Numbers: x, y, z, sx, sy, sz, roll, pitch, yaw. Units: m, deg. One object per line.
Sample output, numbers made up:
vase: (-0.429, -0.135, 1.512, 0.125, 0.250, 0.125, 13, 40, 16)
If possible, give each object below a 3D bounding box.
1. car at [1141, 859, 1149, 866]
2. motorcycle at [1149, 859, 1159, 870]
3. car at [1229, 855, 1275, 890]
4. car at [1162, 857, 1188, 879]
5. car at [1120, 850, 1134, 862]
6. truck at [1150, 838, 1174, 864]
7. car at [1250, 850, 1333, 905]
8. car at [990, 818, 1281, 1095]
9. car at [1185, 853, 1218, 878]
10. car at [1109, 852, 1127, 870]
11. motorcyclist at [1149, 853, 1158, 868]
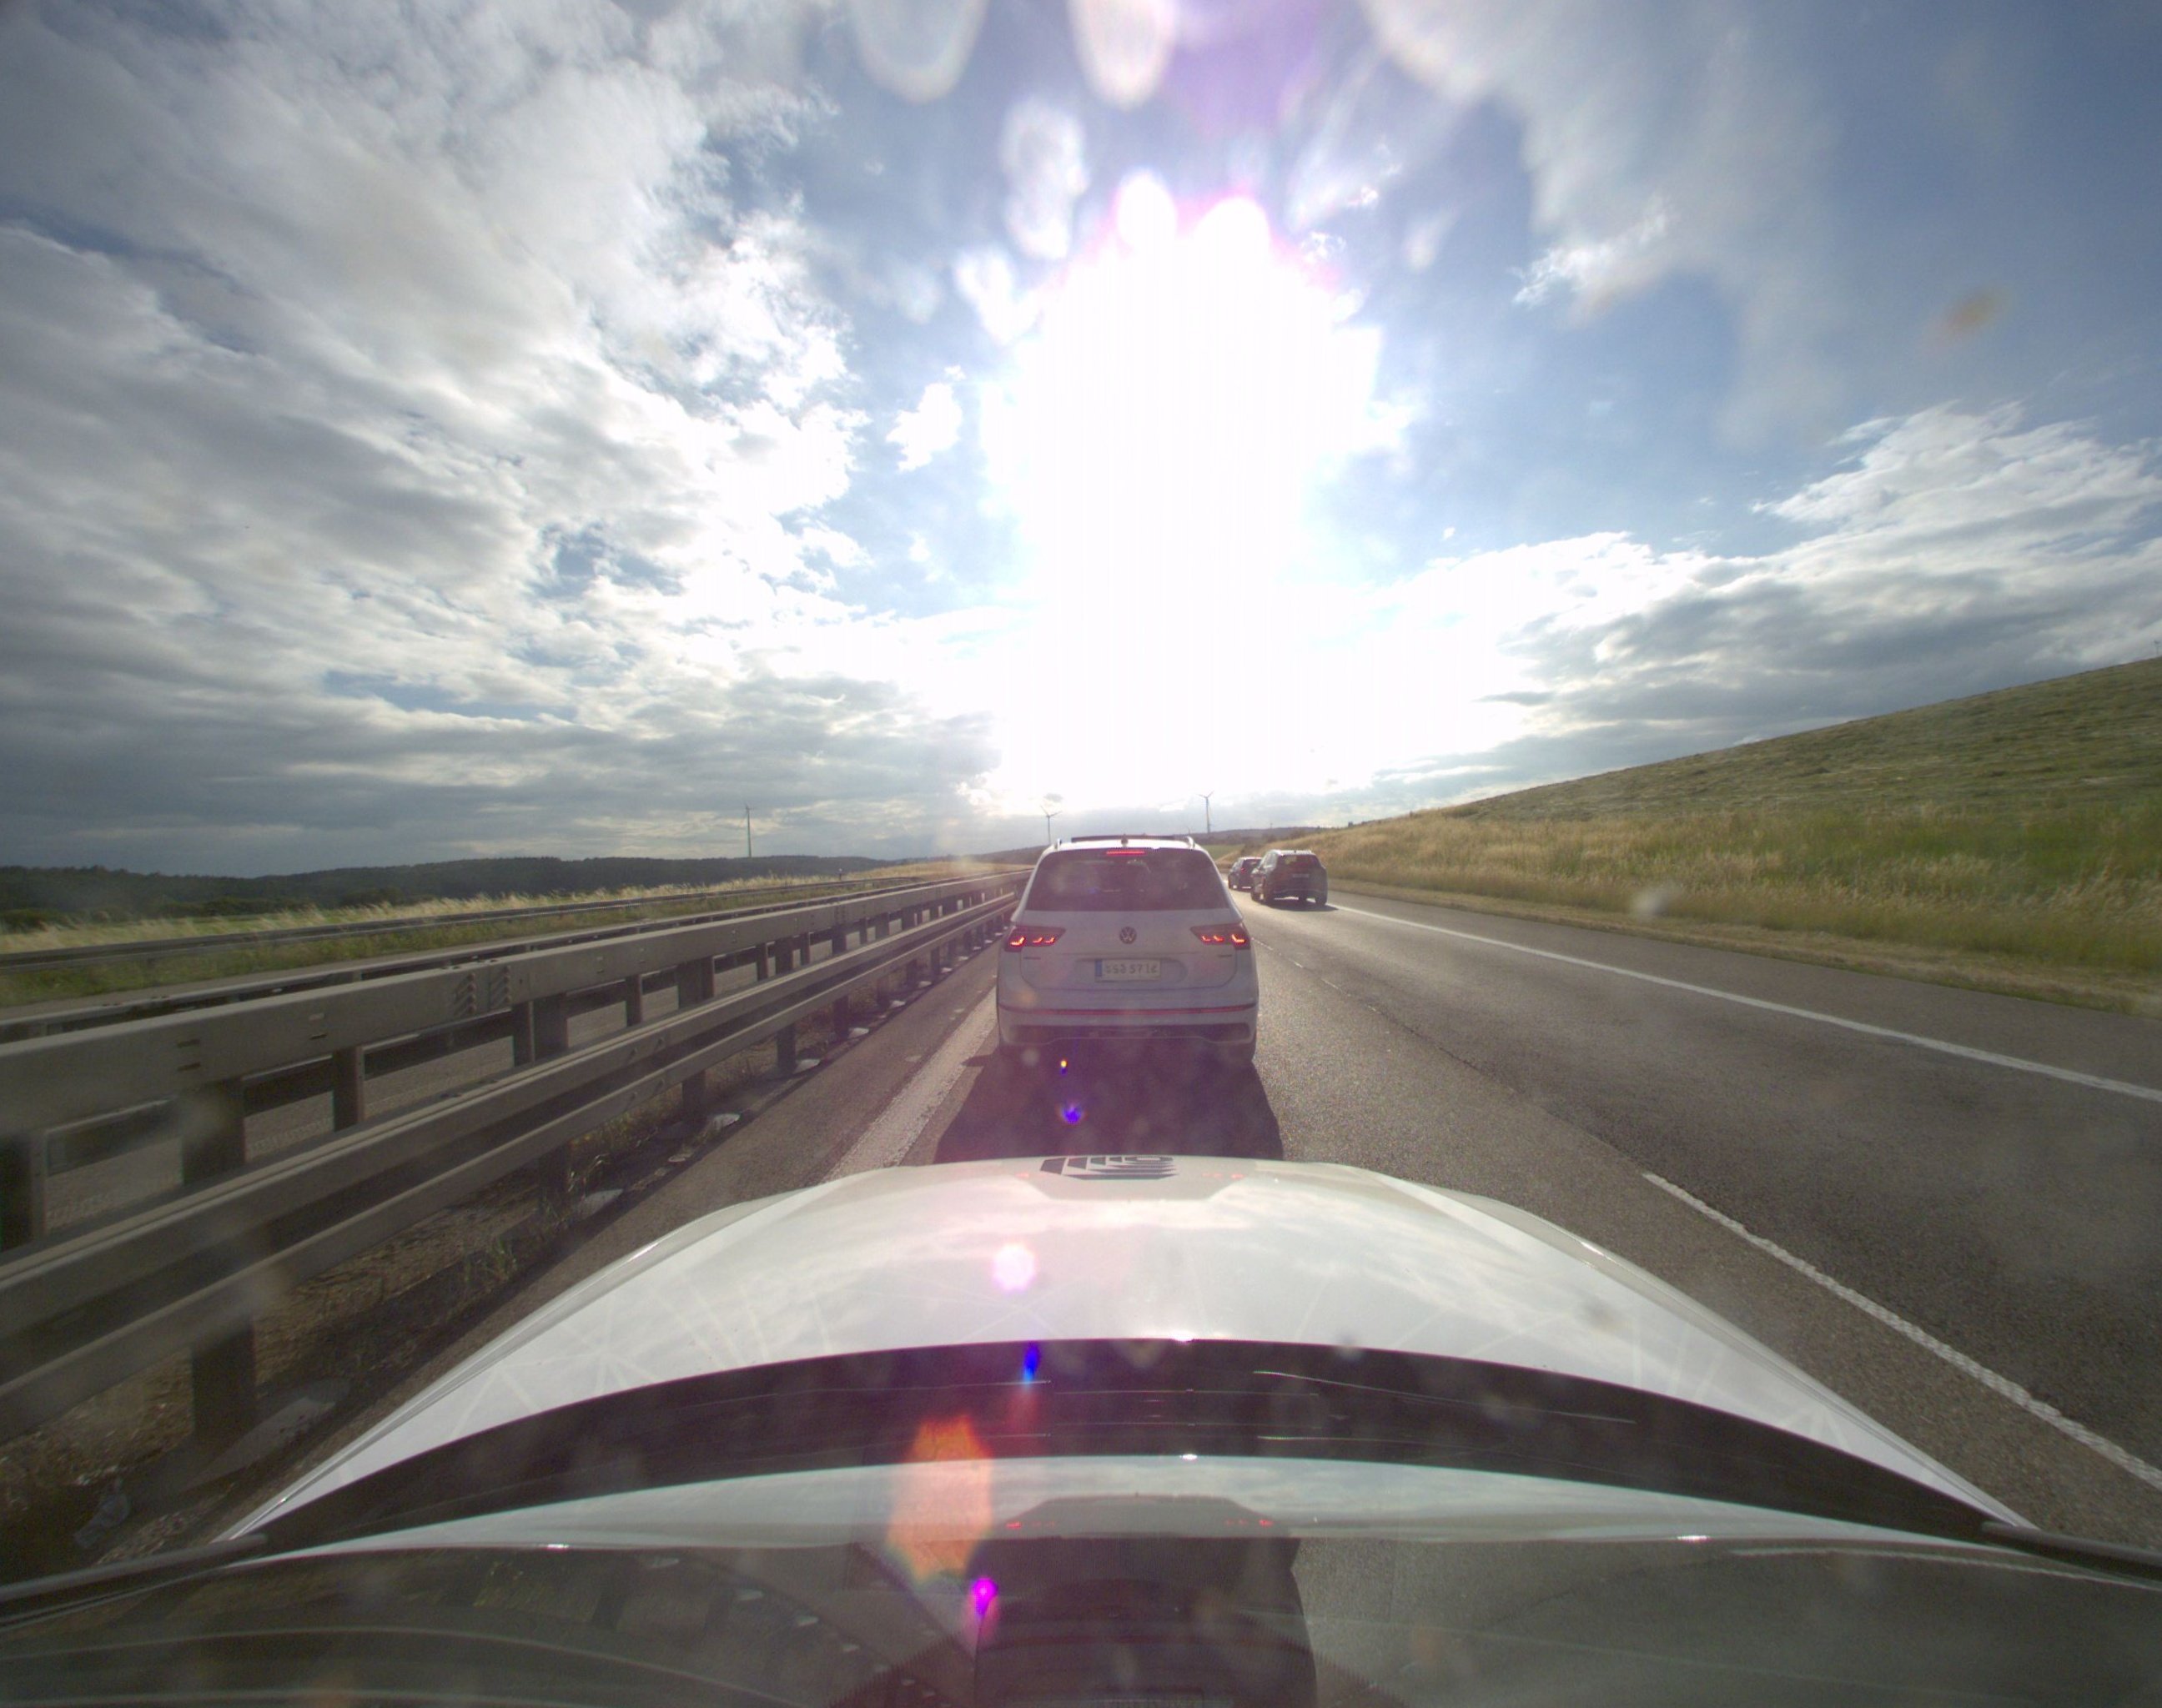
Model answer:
car: (13.863, 1.884, 176.326, 1.697, 1.546, 4.001, -1, -1, 2)
motorcycle: (7.783, 1.092, 87.272, 0.892, 1.190, 2.257, -1, -1, 1)
car: (7.530, 0.795, 36.137, 1.598, 1.420, 3.678, -1, -1, 6)
car: (7.398, 1.068, 64.554, 1.697, 1.650, 4.001, -1, -1, 2)
car: (6.229, 0.230, 110.198, 1.697, 1.546, 4.001, -1, -1, 2)
truck: (11.876, -0.405, 120.120, 3.170, 3.594, 11.142, -1, 0, 4)
car: (6.556, 0.696, 25.763, 1.813, 1.601, 4.239, 0, -1, 4)
car: (0.401, 0.654, 7.026, 1.763, 1.675, 4.001, -1, -1, 2)
car: (7.845, 0.762, 53.437, 1.697, 1.546, 4.001, -1, -1, 2)
car: (3.574, 0.710, 80.224, 1.697, 1.650, 4.001, -1, -1, 2)
motorcyclist: (7.776, 0.688, 87.232, 0.846, 1.560, 0.934, -1, -1, 1)
